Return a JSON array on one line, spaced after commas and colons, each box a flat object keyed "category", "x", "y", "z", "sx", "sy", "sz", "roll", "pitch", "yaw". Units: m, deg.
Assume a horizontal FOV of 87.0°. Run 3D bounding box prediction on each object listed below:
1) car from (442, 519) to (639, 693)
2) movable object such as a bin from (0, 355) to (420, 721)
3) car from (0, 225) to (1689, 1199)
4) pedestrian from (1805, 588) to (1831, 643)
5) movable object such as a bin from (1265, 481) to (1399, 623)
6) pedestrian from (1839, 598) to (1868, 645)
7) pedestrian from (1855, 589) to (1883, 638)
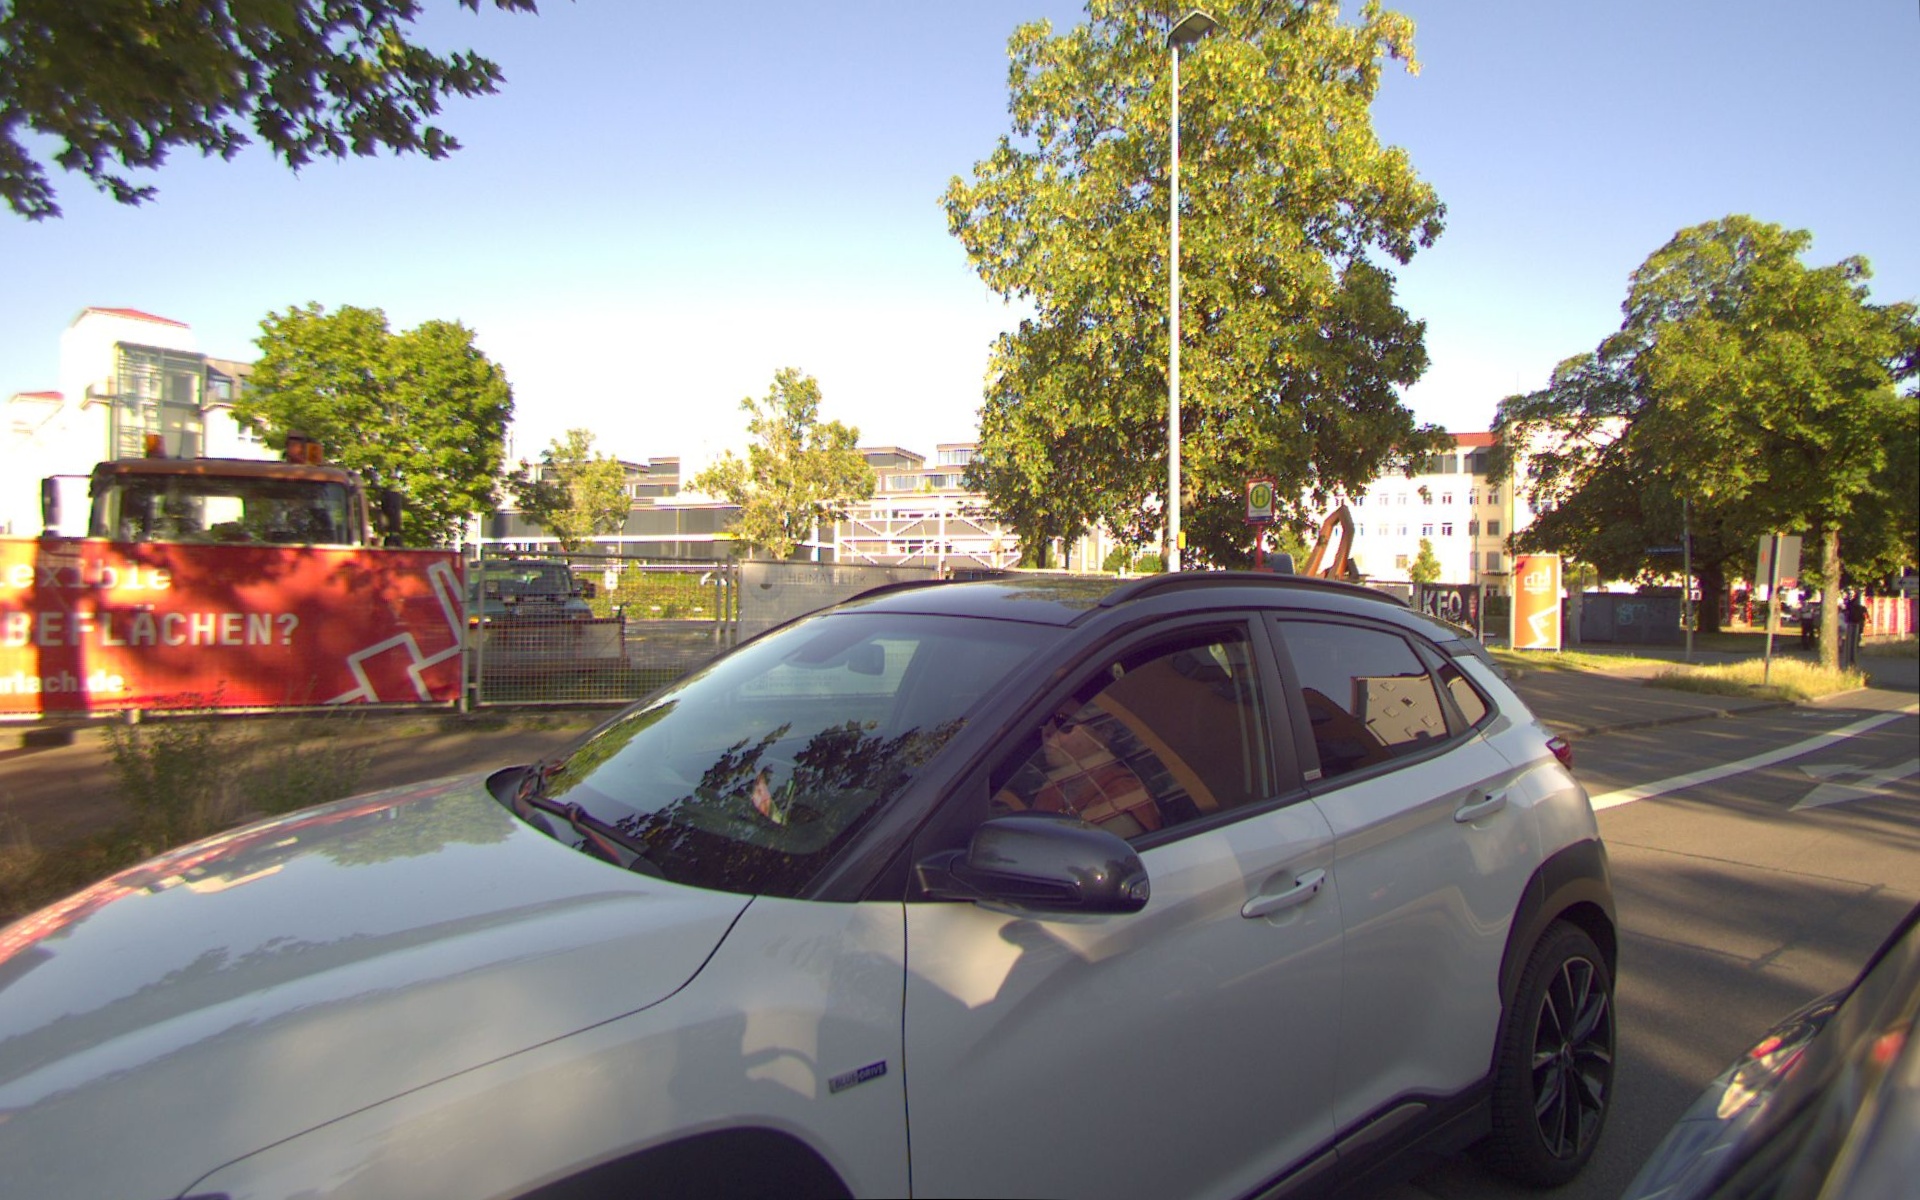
[{"category": "car", "x": -5.671, "y": 0.037, "z": 13.297, "sx": 2.001, "sy": 1.851, "sz": 4.612, "roll": 0, "pitch": 0, "yaw": -28}, {"category": "movable object such as a bin", "x": -8.394, "y": -0.555, "z": 12.057, "sx": 3.154, "sy": 3.087, "sz": 6.295, "roll": 0, "pitch": 0, "yaw": -31}, {"category": "car", "x": 0.020, "y": 0.608, "z": 2.450, "sx": 3.893, "sy": 1.618, "sz": 1.894, "roll": 3, "pitch": -2, "yaw": -39}, {"category": "pedestrian", "x": 27.575, "y": 0.495, "z": 32.535, "sx": 0.607, "sy": 1.759, "sz": 0.629, "roll": 0, "pitch": 0, "yaw": 44}, {"category": "movable object such as a bin", "x": 15.517, "y": -1.890, "z": 42.767, "sx": 3.910, "sy": 5.547, "sz": 6.022, "roll": 0, "pitch": 0, "yaw": 6}, {"category": "pedestrian", "x": 28.031, "y": 0.675, "z": 31.753, "sx": 0.627, "sy": 1.452, "sz": 0.609, "roll": 0, "pitch": 0, "yaw": -40}, {"category": "pedestrian", "x": 32.347, "y": 0.468, "z": 35.997, "sx": 0.628, "sy": 1.689, "sz": 0.694, "roll": 0, "pitch": 0, "yaw": -44}]
